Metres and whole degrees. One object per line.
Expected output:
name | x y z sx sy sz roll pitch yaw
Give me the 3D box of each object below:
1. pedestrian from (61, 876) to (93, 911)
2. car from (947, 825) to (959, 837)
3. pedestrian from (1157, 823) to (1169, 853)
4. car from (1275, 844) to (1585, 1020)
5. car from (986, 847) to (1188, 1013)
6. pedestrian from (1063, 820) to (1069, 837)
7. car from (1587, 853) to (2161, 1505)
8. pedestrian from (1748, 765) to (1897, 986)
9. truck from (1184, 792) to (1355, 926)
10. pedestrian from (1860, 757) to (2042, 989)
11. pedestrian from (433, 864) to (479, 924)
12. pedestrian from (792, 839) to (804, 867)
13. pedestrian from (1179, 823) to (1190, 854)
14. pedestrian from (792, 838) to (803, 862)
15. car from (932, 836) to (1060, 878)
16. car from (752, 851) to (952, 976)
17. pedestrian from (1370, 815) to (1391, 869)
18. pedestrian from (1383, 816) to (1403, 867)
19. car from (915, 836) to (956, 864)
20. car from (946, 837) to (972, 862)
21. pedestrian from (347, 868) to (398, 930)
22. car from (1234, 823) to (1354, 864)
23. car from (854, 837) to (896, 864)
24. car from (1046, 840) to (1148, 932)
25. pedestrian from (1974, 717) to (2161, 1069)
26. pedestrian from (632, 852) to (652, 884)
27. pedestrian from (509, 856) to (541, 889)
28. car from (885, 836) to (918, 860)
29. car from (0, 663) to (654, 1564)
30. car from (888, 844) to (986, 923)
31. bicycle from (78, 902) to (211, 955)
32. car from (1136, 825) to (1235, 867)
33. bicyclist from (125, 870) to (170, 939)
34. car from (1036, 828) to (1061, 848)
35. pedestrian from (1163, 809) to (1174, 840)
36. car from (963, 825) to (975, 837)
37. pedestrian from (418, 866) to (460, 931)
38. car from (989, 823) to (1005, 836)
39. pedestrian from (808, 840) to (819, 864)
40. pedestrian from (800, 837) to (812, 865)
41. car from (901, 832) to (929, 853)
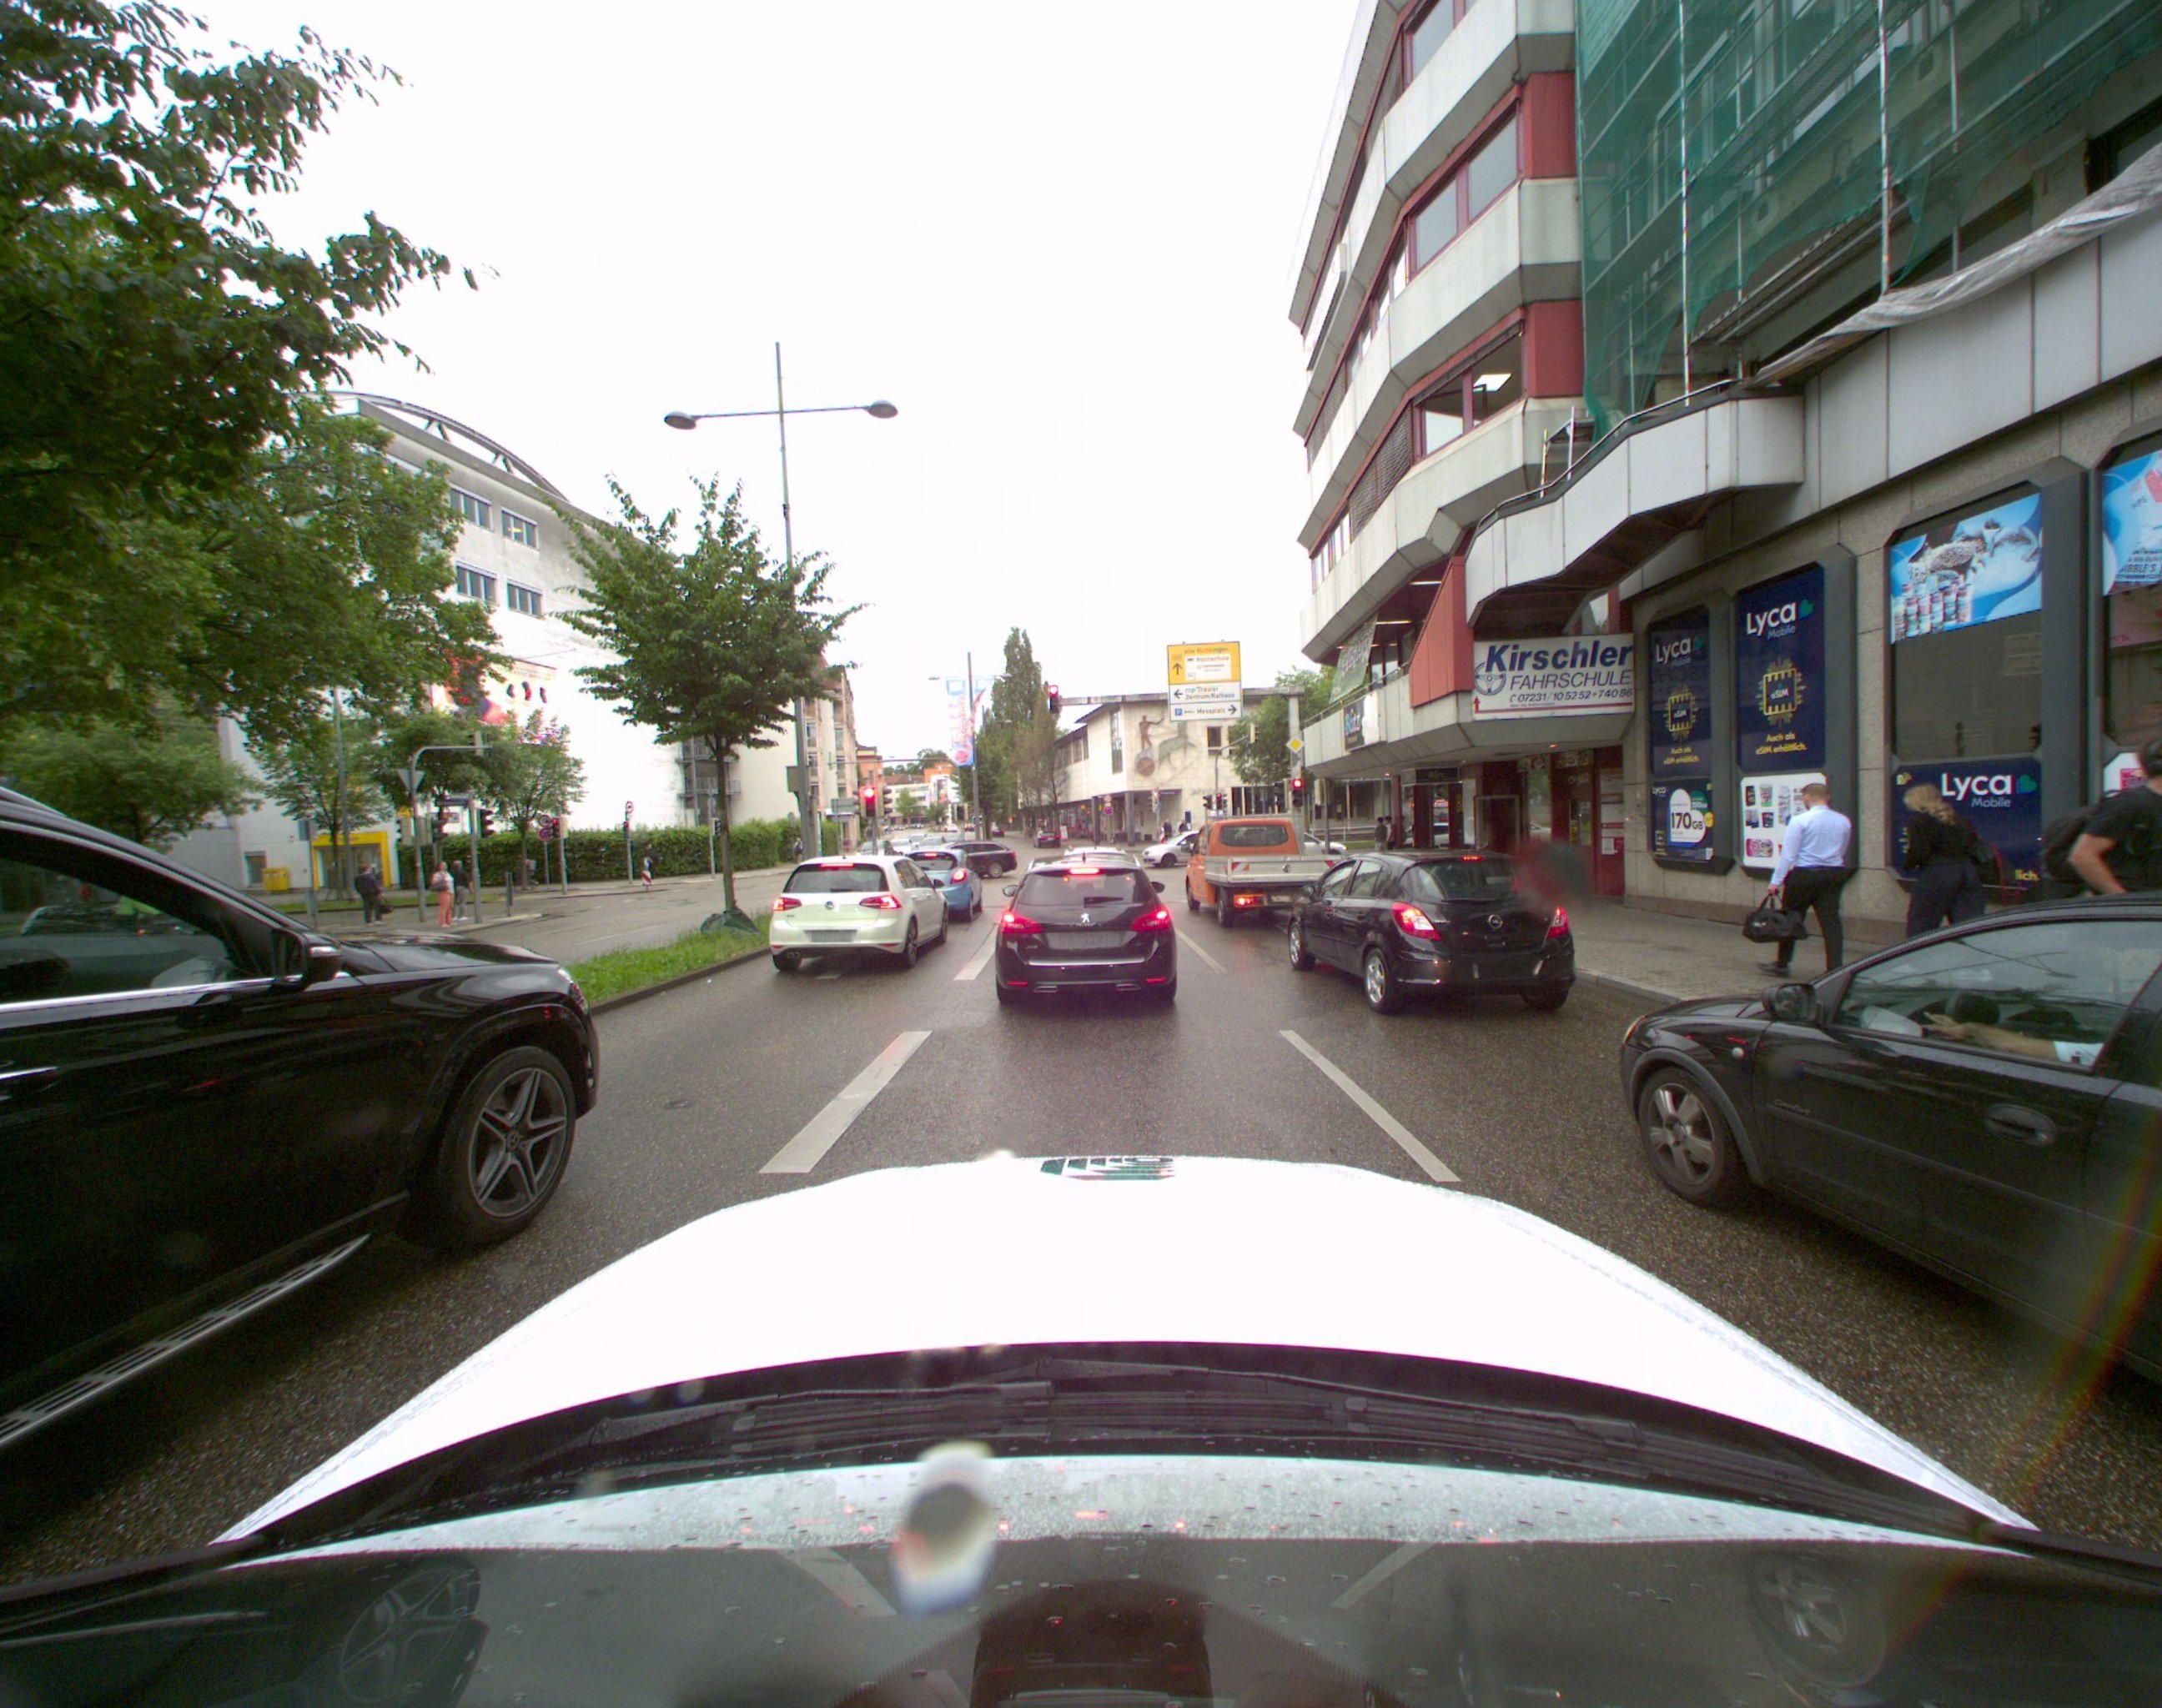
pedestrian | -48.558 1.916 39.397 0.633 1.643 0.735 -1 -1 8
car | -23.051 -4.162 146.860 1.709 1.882 3.979 0 -1 -15
pedestrian | 4.979 -0.965 49.559 0.633 1.758 0.735 -1 -1 8
car | 3.365 0.623 8.695 1.611 1.429 3.840 -1 1 -1
car | 0.059 0.654 9.141 1.772 1.429 3.842 -1 1 0
pedestrian | -1.567 -2.709 86.584 0.469 1.748 0.537 0 -1 -19
car | 3.262 0.742 2.274 1.600 1.429 3.626 -1 1 3
pedestrian | 6.792 0.192 7.491 0.733 1.935 0.640 -1 -1 1
truck | 3.431 0.024 15.922 2.170 2.172 5.020 -1 1 0
pedestrian | 7.789 0.165 7.327 0.733 1.934 0.640 -5 -1 1
pedestrian | -18.342 1.164 23.918 0.750 1.661 0.628 -2 2 1
pedestrian | -17.523 -0.067 50.505 0.538 1.748 0.745 -1 -1 -7
pedestrian | 6.435 -0.985 50.792 0.633 1.897 0.735 -1 -1 8
pedestrian | -18.997 -0.241 54.561 0.579 1.599 0.526 -1 -1 -5
car | -3.290 0.067 31.868 4.754 1.486 1.622 -2 1 -32
car | -3.033 0.702 11.650 1.772 1.429 3.841 -1 1 -1
pedestrian | 9.627 -0.382 26.160 0.424 1.682 0.450 -3 -1 0
pedestrian | 10.157 -0.389 26.536 0.395 1.640 0.504 -3 -1 2
car | -8.592 -0.210 48.348 1.739 1.579 3.997 -1 -1 -1
car | -8.726 -0.288 58.260 1.743 1.640 3.988 -1 -1 -9
pedestrian | -20.942 1.317 24.094 0.917 1.784 0.712 -1 -1 13
car | 8.308 -0.421 31.902 4.296 1.486 1.631 -1 1 -13
car | -11.996 -0.251 47.529 1.569 1.486 3.608 -1 1 -1
car | 0.323 0.501 15.452 1.690 1.486 3.795 -1 1 2
pedestrian | 5.890 0.181 4.569 0.736 1.816 0.776 -6 -1 13
pedestrian | -22.621 0.724 41.963 0.730 1.643 0.638 -1 -1 -6
pedestrian | -27.065 0.888 39.637 1.059 1.578 0.683 -1 -1 -3
car | -11.988 -0.426 54.514 1.630 1.486 3.604 -1 1 -4
car | -3.202 0.546 1.675 1.905 1.870 5.073 -1 -1 1
car | -3.017 0.551 17.667 1.629 1.486 3.606 -1 1 -3
bicycle | -21.489 1.689 18.726 0.609 1.000 1.953 -4 -1 38
car | 4.375 -0.344 34.306 3.746 1.468 1.631 -4 2 -14
bicyclist | -21.506 1.156 18.763 0.625 1.530 0.613 -4 -1 38
car | -2.745 -1.372 67.815 1.784 1.454 4.500 -4 3 -5
pedestrian | 5.523 -1.831 51.343 0.633 1.897 0.735 -1 -1 8
car | -20.413 -4.201 148.016 1.709 1.936 3.979 0 -1 -15
pedestrian | -17.038 1.181 21.618 0.555 1.661 0.580 -2 2 2
car | -11.213 -3.302 108.647 1.725 1.490 4.716 0 -1 -10
pedestrian | -18.277 -0.112 55.575 0.579 1.599 0.526 -1 -1 -5
pedestrian | -17.592 -0.193 52.120 0.538 1.748 0.564 -1 -1 -3
car | -12.518 -0.879 61.607 1.630 1.486 3.604 -1 1 -4
